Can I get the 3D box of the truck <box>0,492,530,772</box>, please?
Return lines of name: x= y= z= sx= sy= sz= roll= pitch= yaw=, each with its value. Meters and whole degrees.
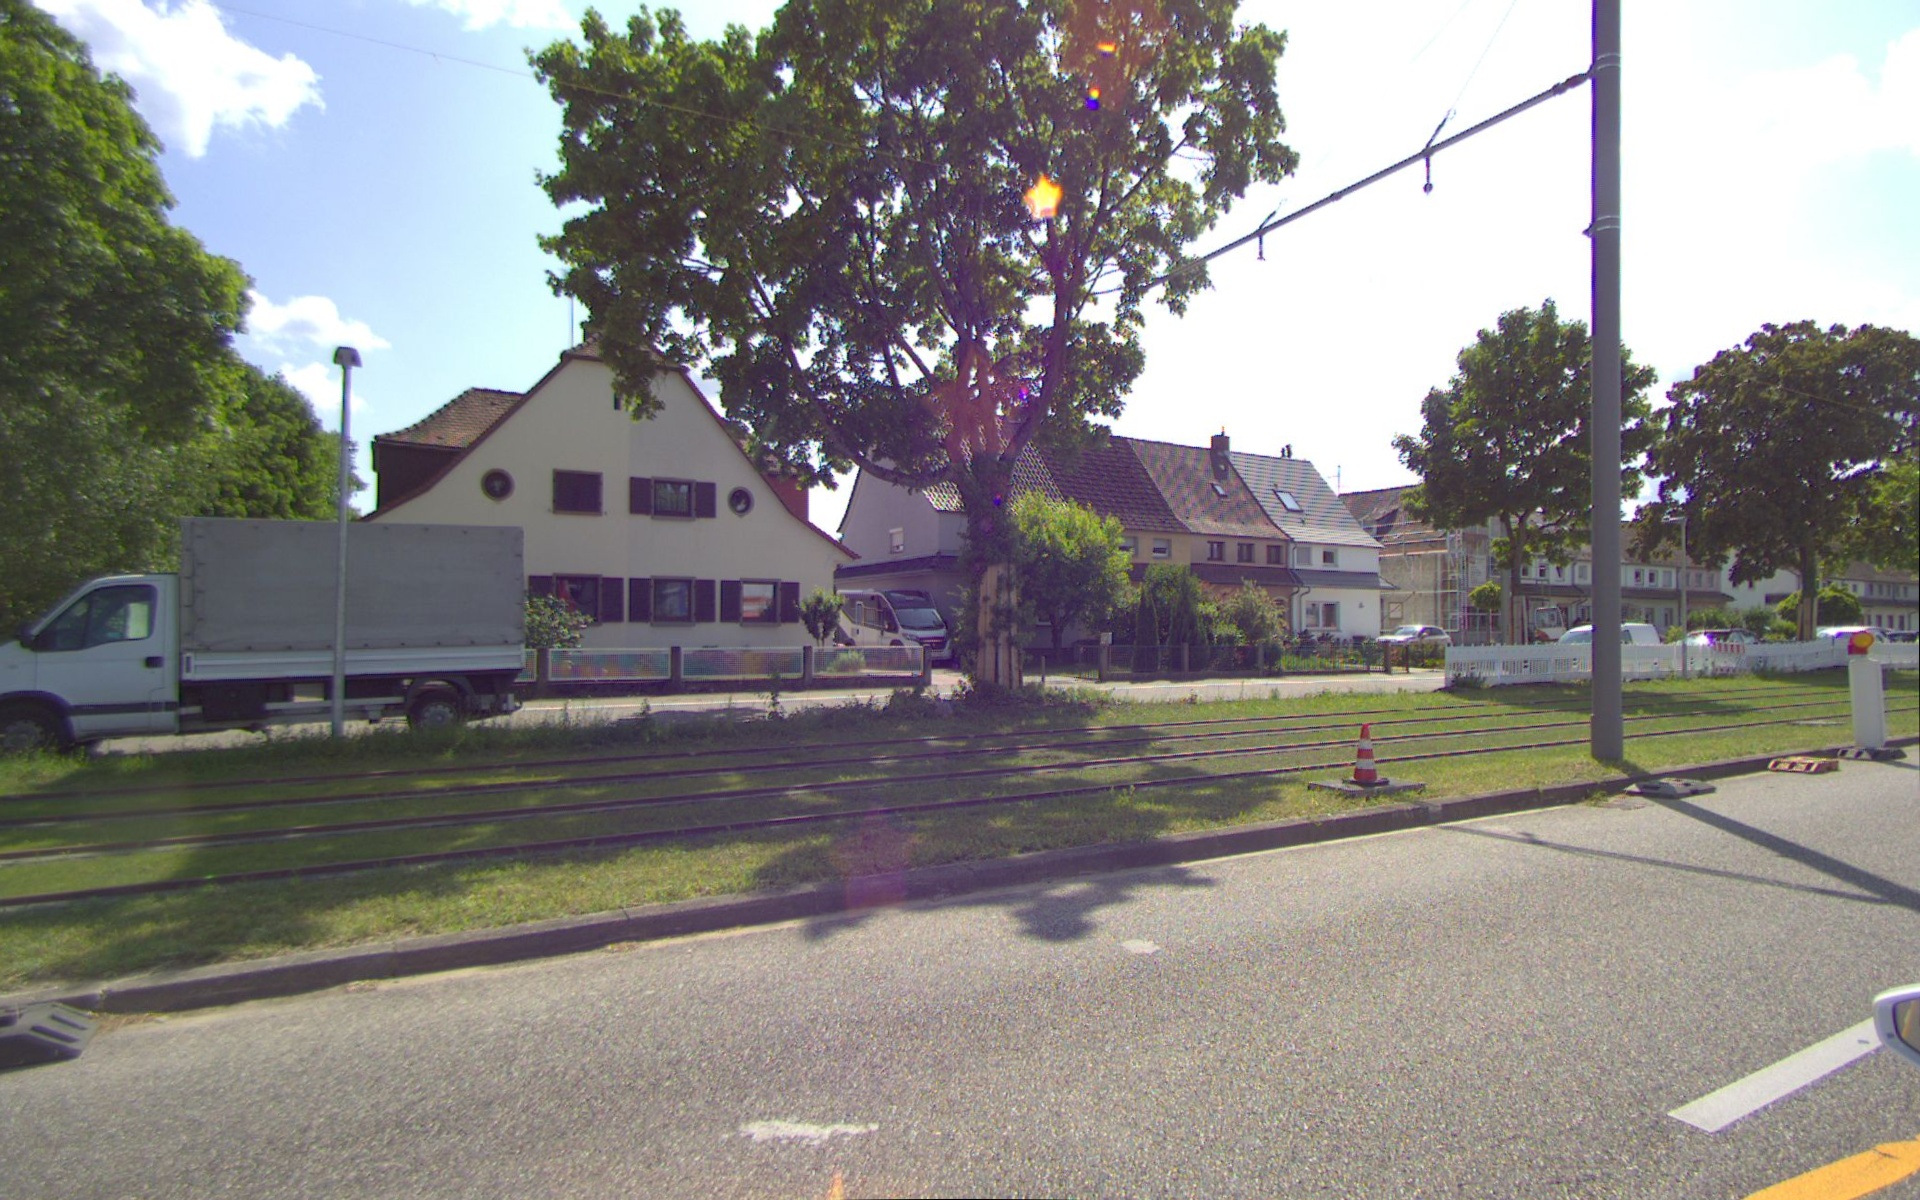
truck: x=-8.799 y=0.409 z=12.930 sx=5.805 sy=3.027 sz=1.994 roll=1 pitch=-2 yaw=-30

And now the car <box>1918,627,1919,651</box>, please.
car: x=72.132 y=2.842 z=73.666 sx=4.013 sy=1.762 sz=1.691 roll=1 pitch=-2 yaw=-30

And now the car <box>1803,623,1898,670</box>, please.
car: x=34.958 y=1.799 z=39.419 sx=3.814 sy=1.762 sz=1.691 roll=1 pitch=-2 yaw=-30

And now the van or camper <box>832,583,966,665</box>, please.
van or camper: x=-2.352 y=0.902 z=36.647 sx=2.224 sy=2.745 sz=5.963 roll=1 pitch=-2 yaw=-33

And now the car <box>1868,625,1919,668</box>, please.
car: x=40.387 y=1.956 z=42.598 sx=3.814 sy=1.762 sz=1.691 roll=1 pitch=-2 yaw=-30

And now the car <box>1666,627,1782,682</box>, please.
car: x=25.744 y=1.795 z=33.824 sx=4.006 sy=1.762 sz=1.691 roll=1 pitch=-2 yaw=-30

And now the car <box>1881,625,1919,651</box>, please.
car: x=66.749 y=2.678 z=70.730 sx=4.013 sy=1.762 sz=1.691 roll=1 pitch=-2 yaw=-30

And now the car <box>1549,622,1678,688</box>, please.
car: x=19.500 y=1.600 z=29.957 sx=3.814 sy=1.841 sz=1.691 roll=1 pitch=-2 yaw=-30

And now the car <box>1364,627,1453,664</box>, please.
car: x=19.887 y=1.988 z=44.477 sx=3.814 sy=1.614 sz=1.691 roll=1 pitch=-2 yaw=-30
